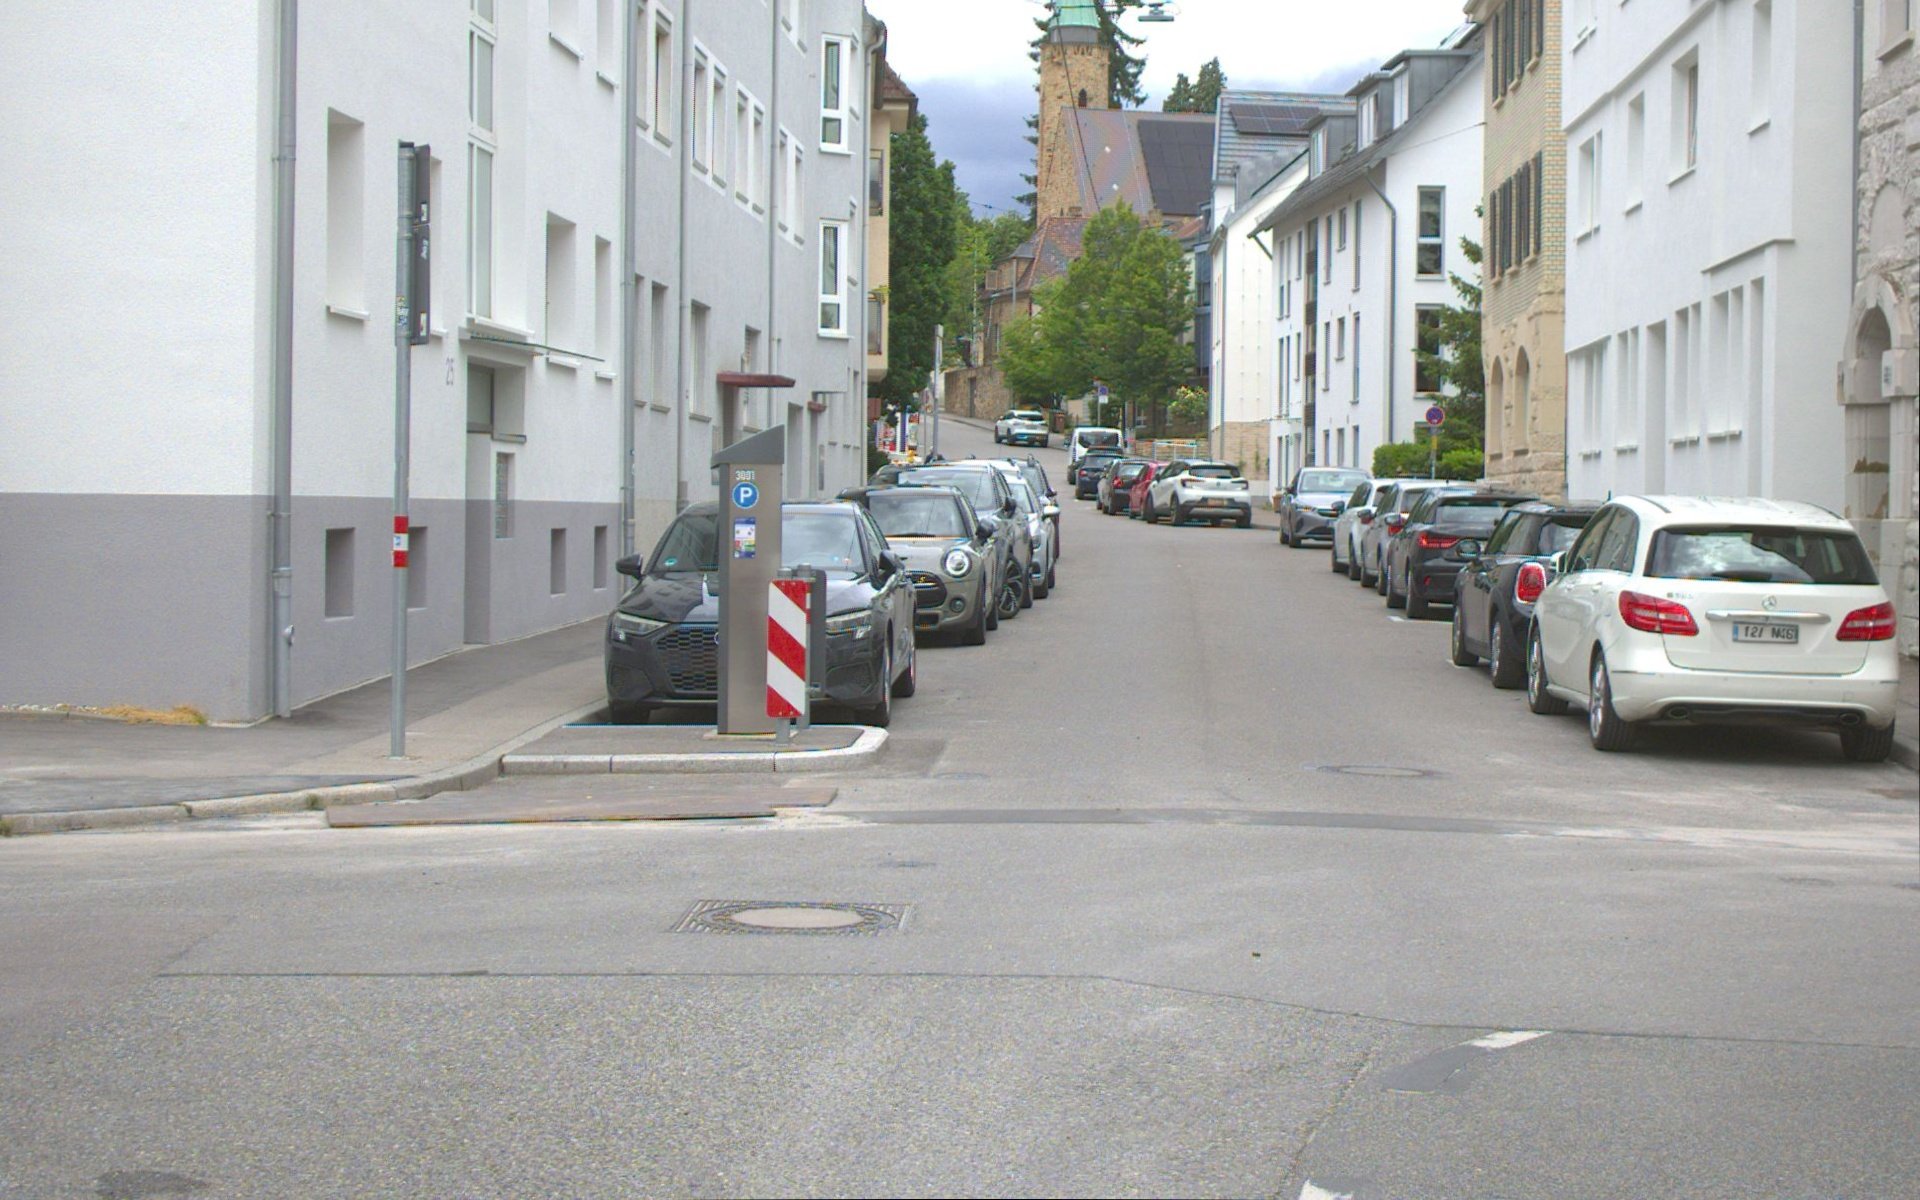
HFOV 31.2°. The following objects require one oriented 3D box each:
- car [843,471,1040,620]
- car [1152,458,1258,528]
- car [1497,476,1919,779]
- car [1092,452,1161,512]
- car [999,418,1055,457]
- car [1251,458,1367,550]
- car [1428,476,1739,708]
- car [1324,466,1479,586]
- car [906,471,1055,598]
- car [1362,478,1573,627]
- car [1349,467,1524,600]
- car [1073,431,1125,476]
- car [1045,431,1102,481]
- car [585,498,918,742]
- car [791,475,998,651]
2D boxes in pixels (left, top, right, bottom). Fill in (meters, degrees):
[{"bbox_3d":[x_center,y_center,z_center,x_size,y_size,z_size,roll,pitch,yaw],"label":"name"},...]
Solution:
[{"bbox_3d":[-0.145,-0.621,36.625,1.730,1.464,3.719,0,3,6],"label":"car"},{"bbox_3d":[5.672,-2.499,79.857,1.783,1.474,3.627,1,3,-6],"label":"car"},{"bbox_3d":[4.670,0.086,21.903,1.820,1.593,4.028,3,3,0],"label":"car"},{"bbox_3d":[4.389,-3.143,91.069,1.667,1.474,3.626,1,3,1],"label":"car"},{"bbox_3d":[3.080,-7.502,158.554,2.181,1.687,3.627,1,3,-4],"label":"car"},{"bbox_3d":[6.184,-1.735,61.256,1.667,1.474,3.626,3,3,0],"label":"car"},{"bbox_3d":[4.797,-0.127,26.955,1.667,1.527,4.028,3,3,0],"label":"car"},{"bbox_3d":[6.133,-1.062,48.098,1.667,1.474,3.626,3,3,0],"label":"car"},{"bbox_3d":[0.287,-0.826,41.615,1.730,1.443,3.720,0,3,2],"label":"car"},{"bbox_3d":[5.463,-0.557,37.411,1.667,1.380,4.028,3,3,0],"label":"car"},{"bbox_3d":[5.975,-0.872,43.460,1.667,1.474,3.626,3,3,0],"label":"car"},{"bbox_3d":[4.811,-5.116,119.582,1.667,1.474,3.626,1,3,1],"label":"car"},{"bbox_3d":[3.560,-4.532,107.859,1.667,1.474,3.626,1,3,1],"label":"car"},{"bbox_3d":[-1.273,0.058,22.666,1.820,1.386,4.298,0,3,2],"label":"car"},{"bbox_3d":[-0.545,-0.386,31.630,1.730,1.484,3.720,0,3,2],"label":"car"}]
